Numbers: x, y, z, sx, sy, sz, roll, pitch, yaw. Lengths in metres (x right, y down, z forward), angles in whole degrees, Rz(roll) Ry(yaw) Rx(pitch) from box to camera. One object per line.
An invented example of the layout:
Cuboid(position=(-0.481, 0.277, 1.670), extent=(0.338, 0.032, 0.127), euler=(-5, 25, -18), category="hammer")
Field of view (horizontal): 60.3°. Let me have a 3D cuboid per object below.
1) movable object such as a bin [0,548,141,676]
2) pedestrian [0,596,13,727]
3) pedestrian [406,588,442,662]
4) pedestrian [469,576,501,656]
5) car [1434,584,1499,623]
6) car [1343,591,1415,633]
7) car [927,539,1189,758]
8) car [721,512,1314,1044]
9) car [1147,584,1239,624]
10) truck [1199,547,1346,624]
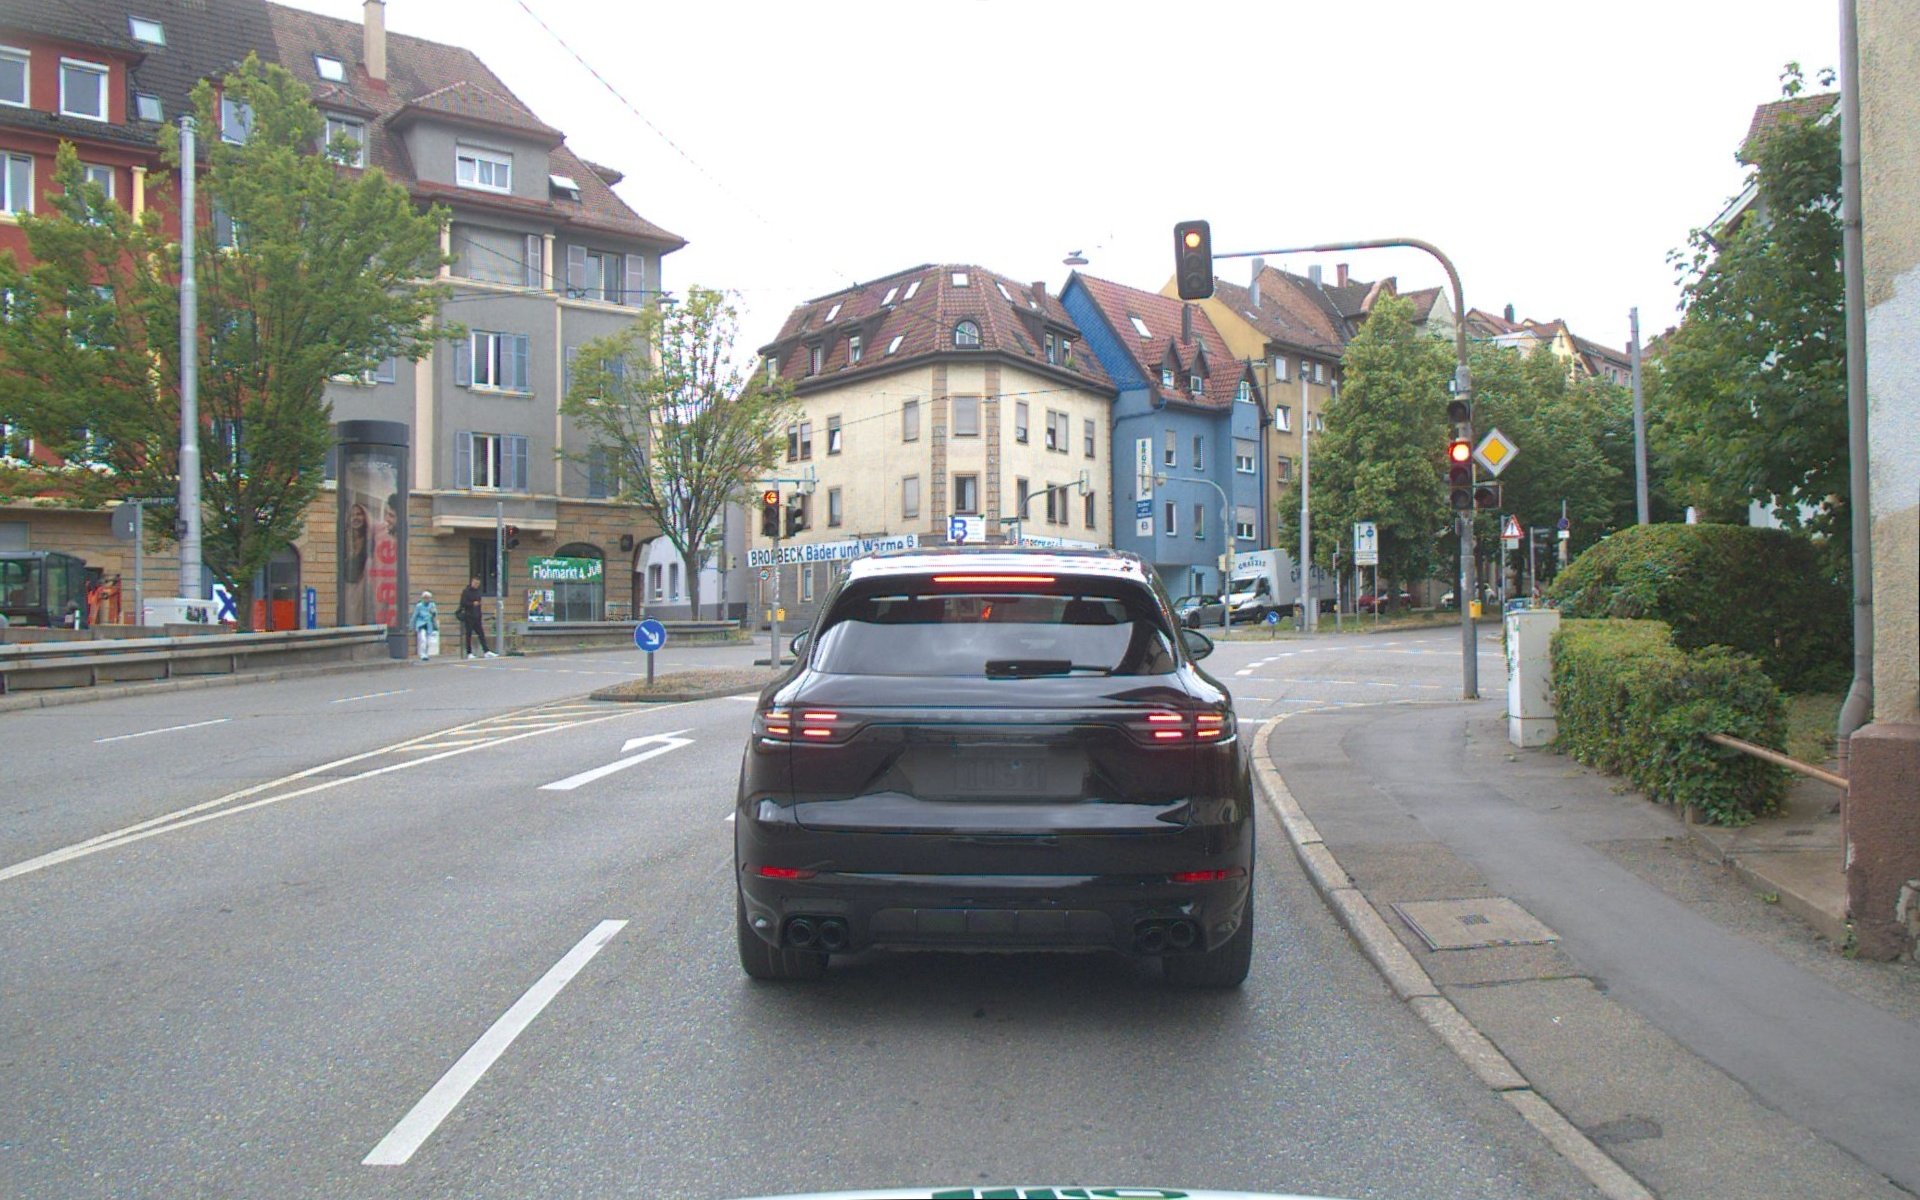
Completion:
Cuboid(position=(-14.179, 0.146, 25.520), extent=(1.870, 1.802, 3.986), euler=(2, 0, -14), category="movable object such as a bin")
Cuboid(position=(-13.279, 0.829, 22.558), extent=(0.537, 1.760, 0.586), euler=(2, -1, -35), category="pedestrian")
Cuboid(position=(-11.757, 0.547, 36.315), extent=(0.577, 1.594, 0.486), euler=(2, -1, -1), category="pedestrian")
Cuboid(position=(-10.665, 0.356, 37.152), extent=(0.503, 1.760, 0.451), euler=(2, -1, 1), category="pedestrian")
Cuboid(position=(28.762, 0.186, 93.903), extent=(1.966, 2.049, 3.973), euler=(2, 0, 43), category="car")
Cuboid(position=(21.921, 0.646, 86.481), extent=(1.965, 2.049, 3.975), euler=(2, 0, 42), category="car")
Cuboid(position=(1.037, 0.382, 15.068), extent=(1.951, 1.713, 4.003), euler=(0, 0, 10), category="car")
Cuboid(position=(0.078, 0.548, 7.394), extent=(1.939, 1.713, 3.997), euler=(0, 1, -4), category="car")
Cuboid(position=(10.146, 0.176, 71.963), extent=(3.968, 1.713, 1.968), euler=(0, 0, -43), category="car")
Cuboid(position=(14.982, -0.648, 78.759), extent=(2.830, 3.398, 8.744), euler=(2, 0, 41), category="truck")
